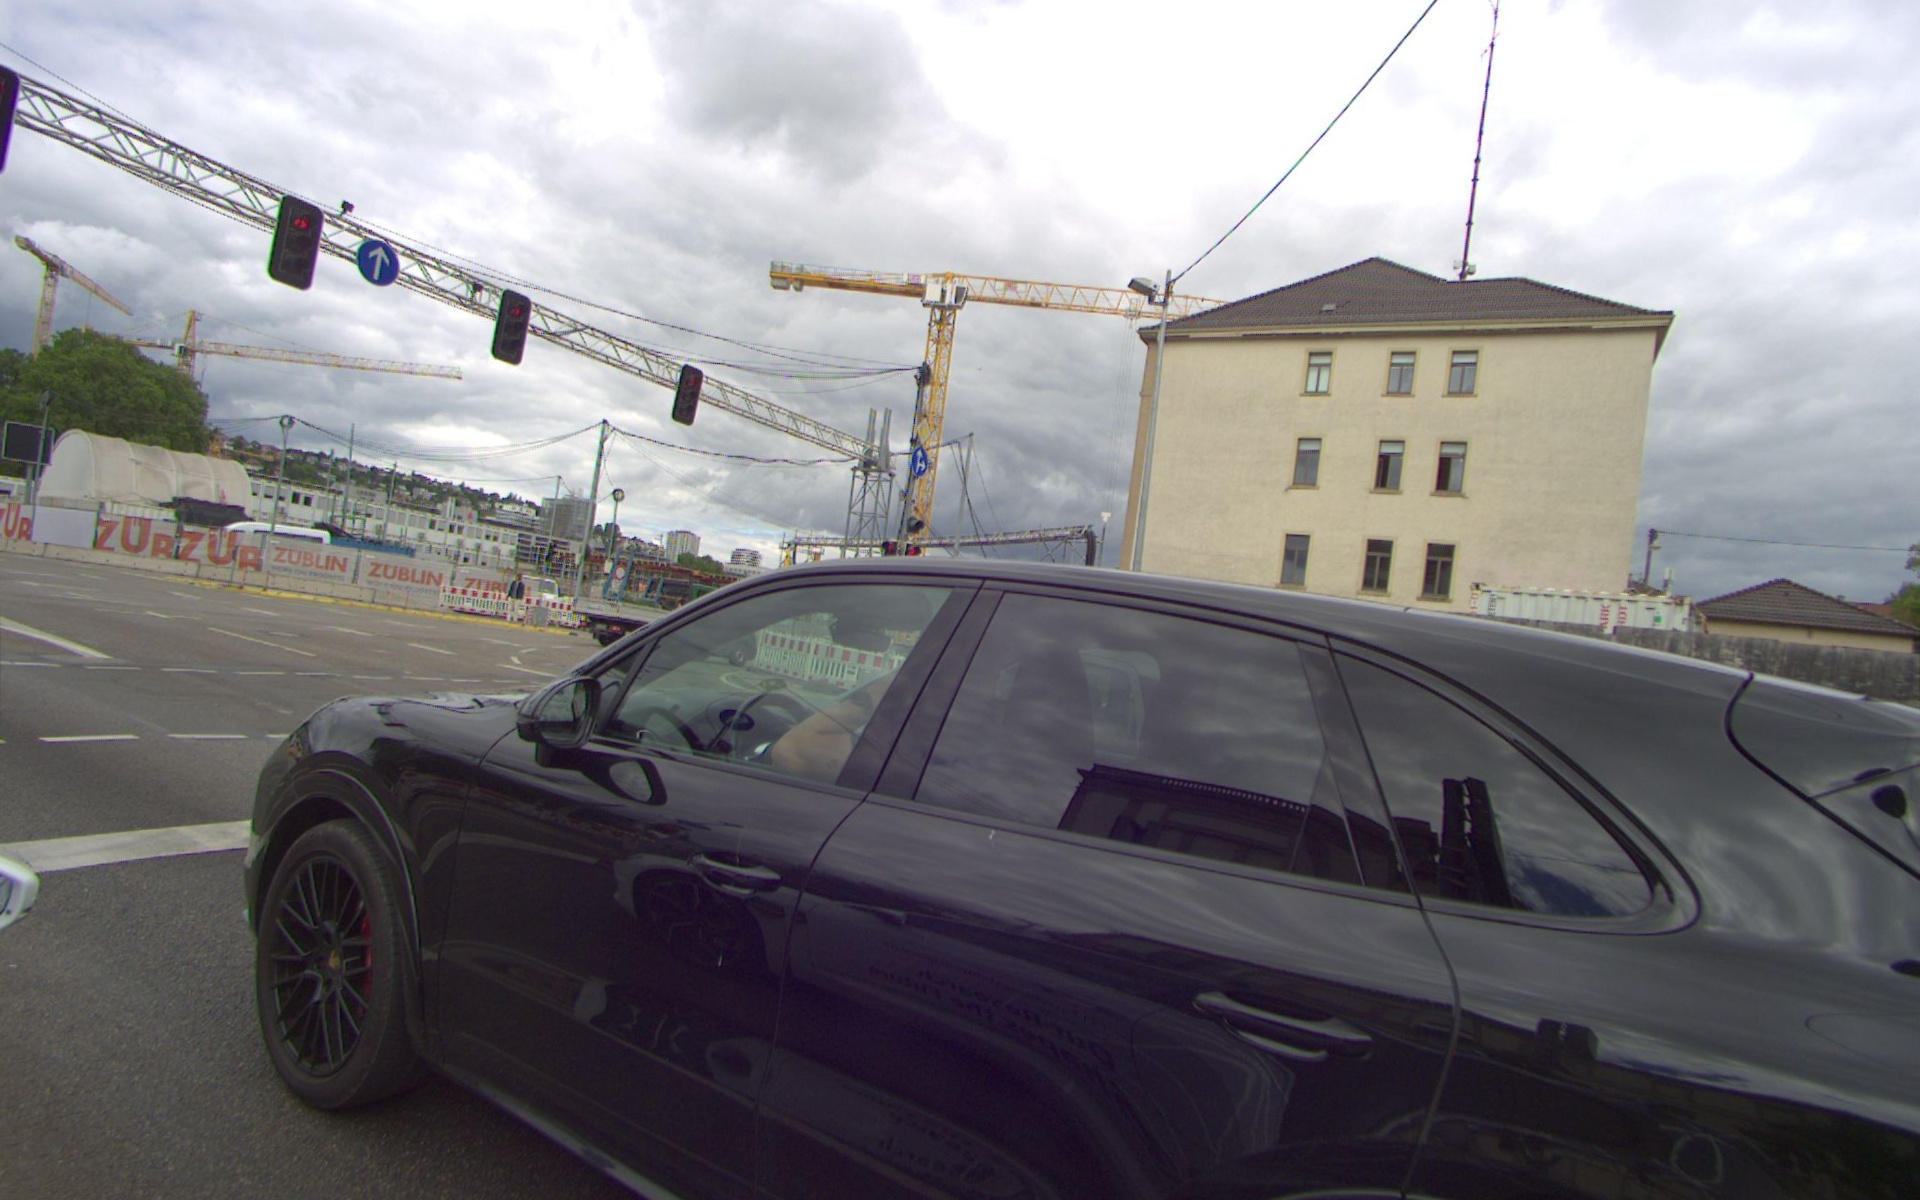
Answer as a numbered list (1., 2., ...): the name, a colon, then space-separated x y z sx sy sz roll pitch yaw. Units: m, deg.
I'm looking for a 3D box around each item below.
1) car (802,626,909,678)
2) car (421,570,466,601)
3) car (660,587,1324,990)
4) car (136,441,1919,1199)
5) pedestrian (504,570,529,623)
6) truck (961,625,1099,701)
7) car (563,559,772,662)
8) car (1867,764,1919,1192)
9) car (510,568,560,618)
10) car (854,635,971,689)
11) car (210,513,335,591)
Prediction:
1. car: -4.189 2.173 41.169 1.654 1.643 4.719 6 -2 32
2. car: -32.089 -0.928 62.468 1.668 1.545 3.960 8 -2 -37
3. car: 0.111 0.987 6.657 3.934 1.644 1.679 6 -2 32
4. car: -0.050 0.672 2.660 4.410 1.735 1.828 6 -2 32
5. pedestrian: -17.220 -0.134 39.055 0.580 1.999 0.433 8 -1 -17
6. truck: 3.596 3.141 48.533 2.583 2.835 9.002 7 -2 31
7. car: -8.549 0.416 30.077 2.265 2.331 5.770 6 -2 31
8. car: 5.762 1.688 2.563 4.729 1.644 1.828 6 -2 32
9. car: -19.165 -0.320 45.292 1.757 1.976 3.108 8 -2 -25
10. car: -1.757 2.462 39.226 1.988 1.643 4.816 6 -2 33
11. car: -29.576 -2.039 43.364 1.660 2.692 3.979 6 -2 45
